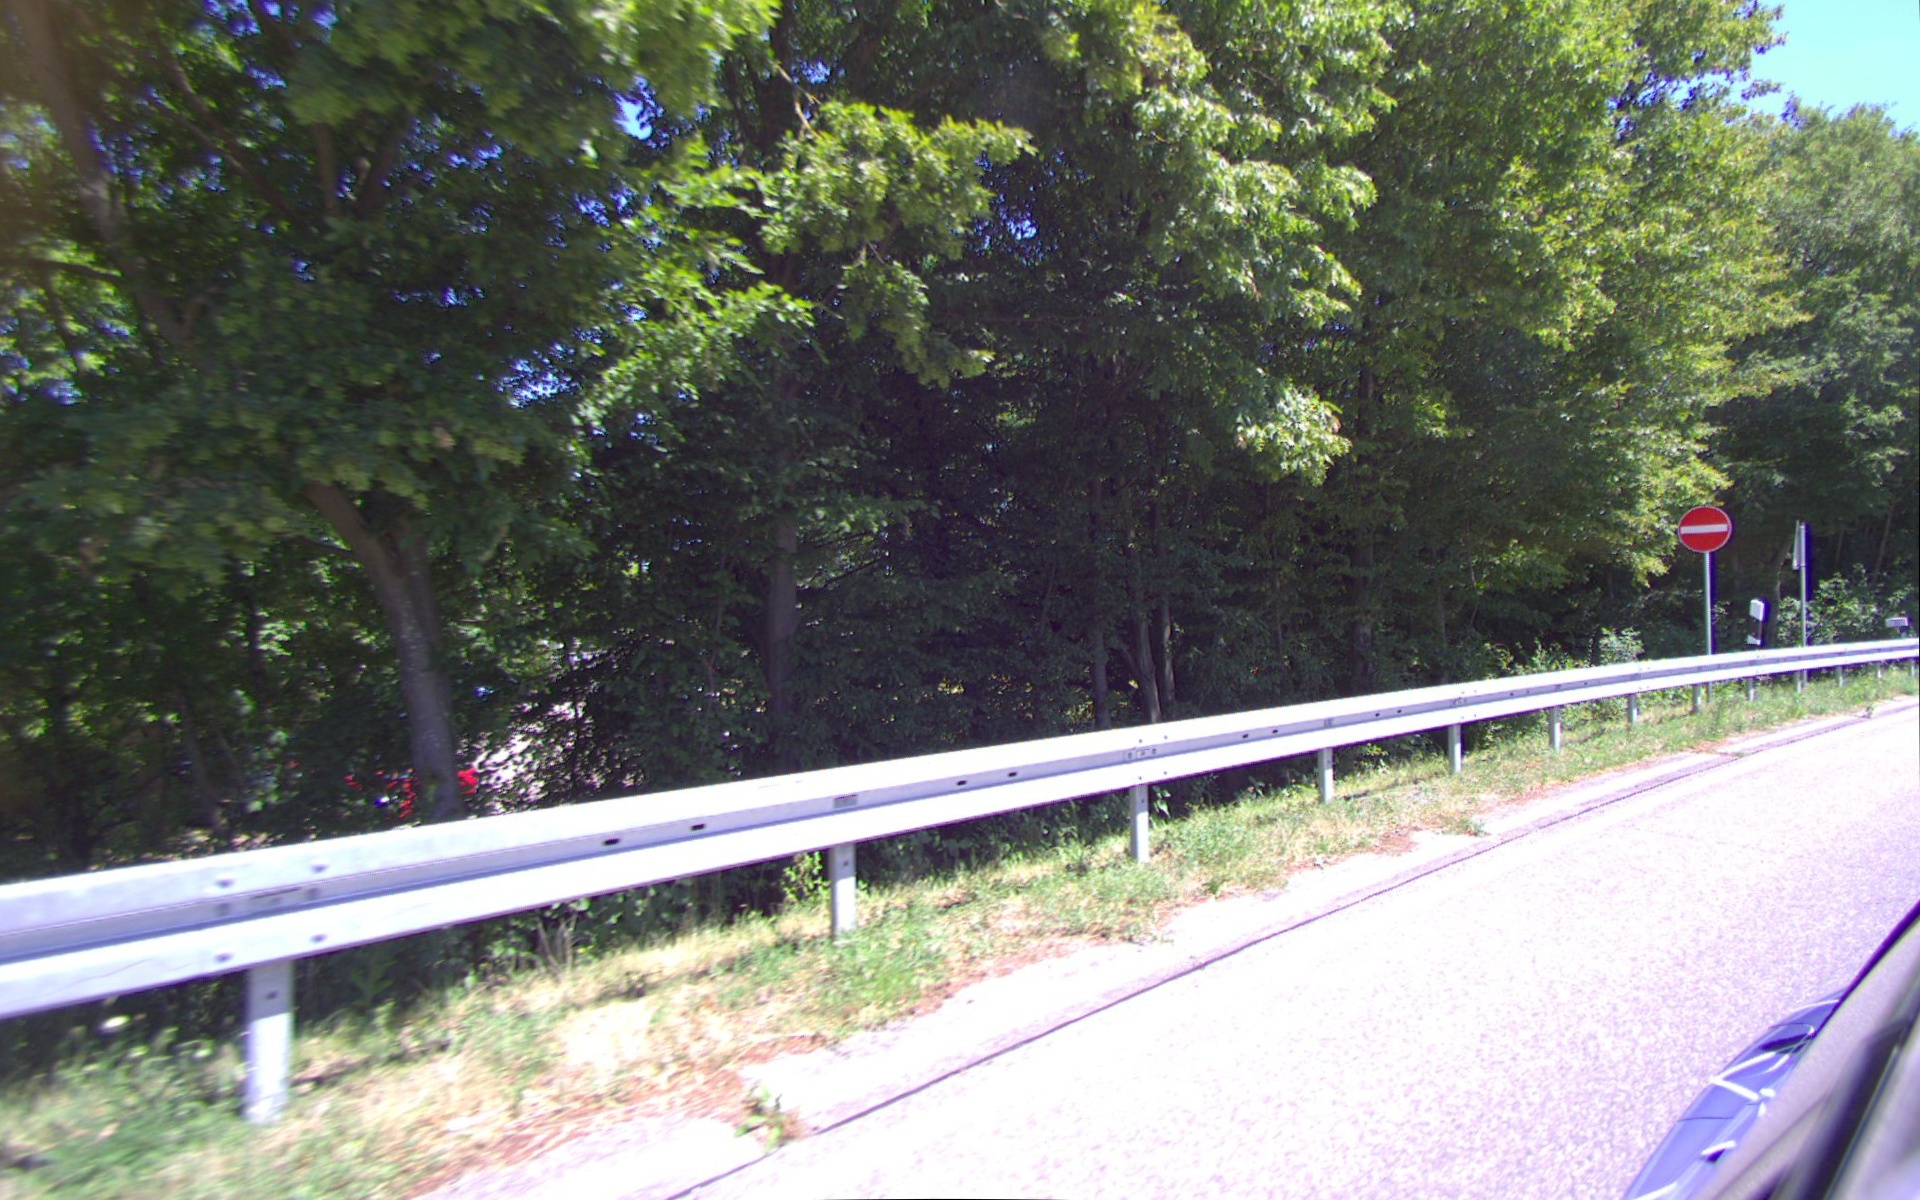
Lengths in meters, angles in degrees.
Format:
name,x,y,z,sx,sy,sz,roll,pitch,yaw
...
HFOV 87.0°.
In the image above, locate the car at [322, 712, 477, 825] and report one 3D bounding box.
name,x,y,z,sx,sy,sz,roll,pitch,yaw
car,-13.363,3.941,24.419,1.959,2.039,4.005,-1,-1,-8
